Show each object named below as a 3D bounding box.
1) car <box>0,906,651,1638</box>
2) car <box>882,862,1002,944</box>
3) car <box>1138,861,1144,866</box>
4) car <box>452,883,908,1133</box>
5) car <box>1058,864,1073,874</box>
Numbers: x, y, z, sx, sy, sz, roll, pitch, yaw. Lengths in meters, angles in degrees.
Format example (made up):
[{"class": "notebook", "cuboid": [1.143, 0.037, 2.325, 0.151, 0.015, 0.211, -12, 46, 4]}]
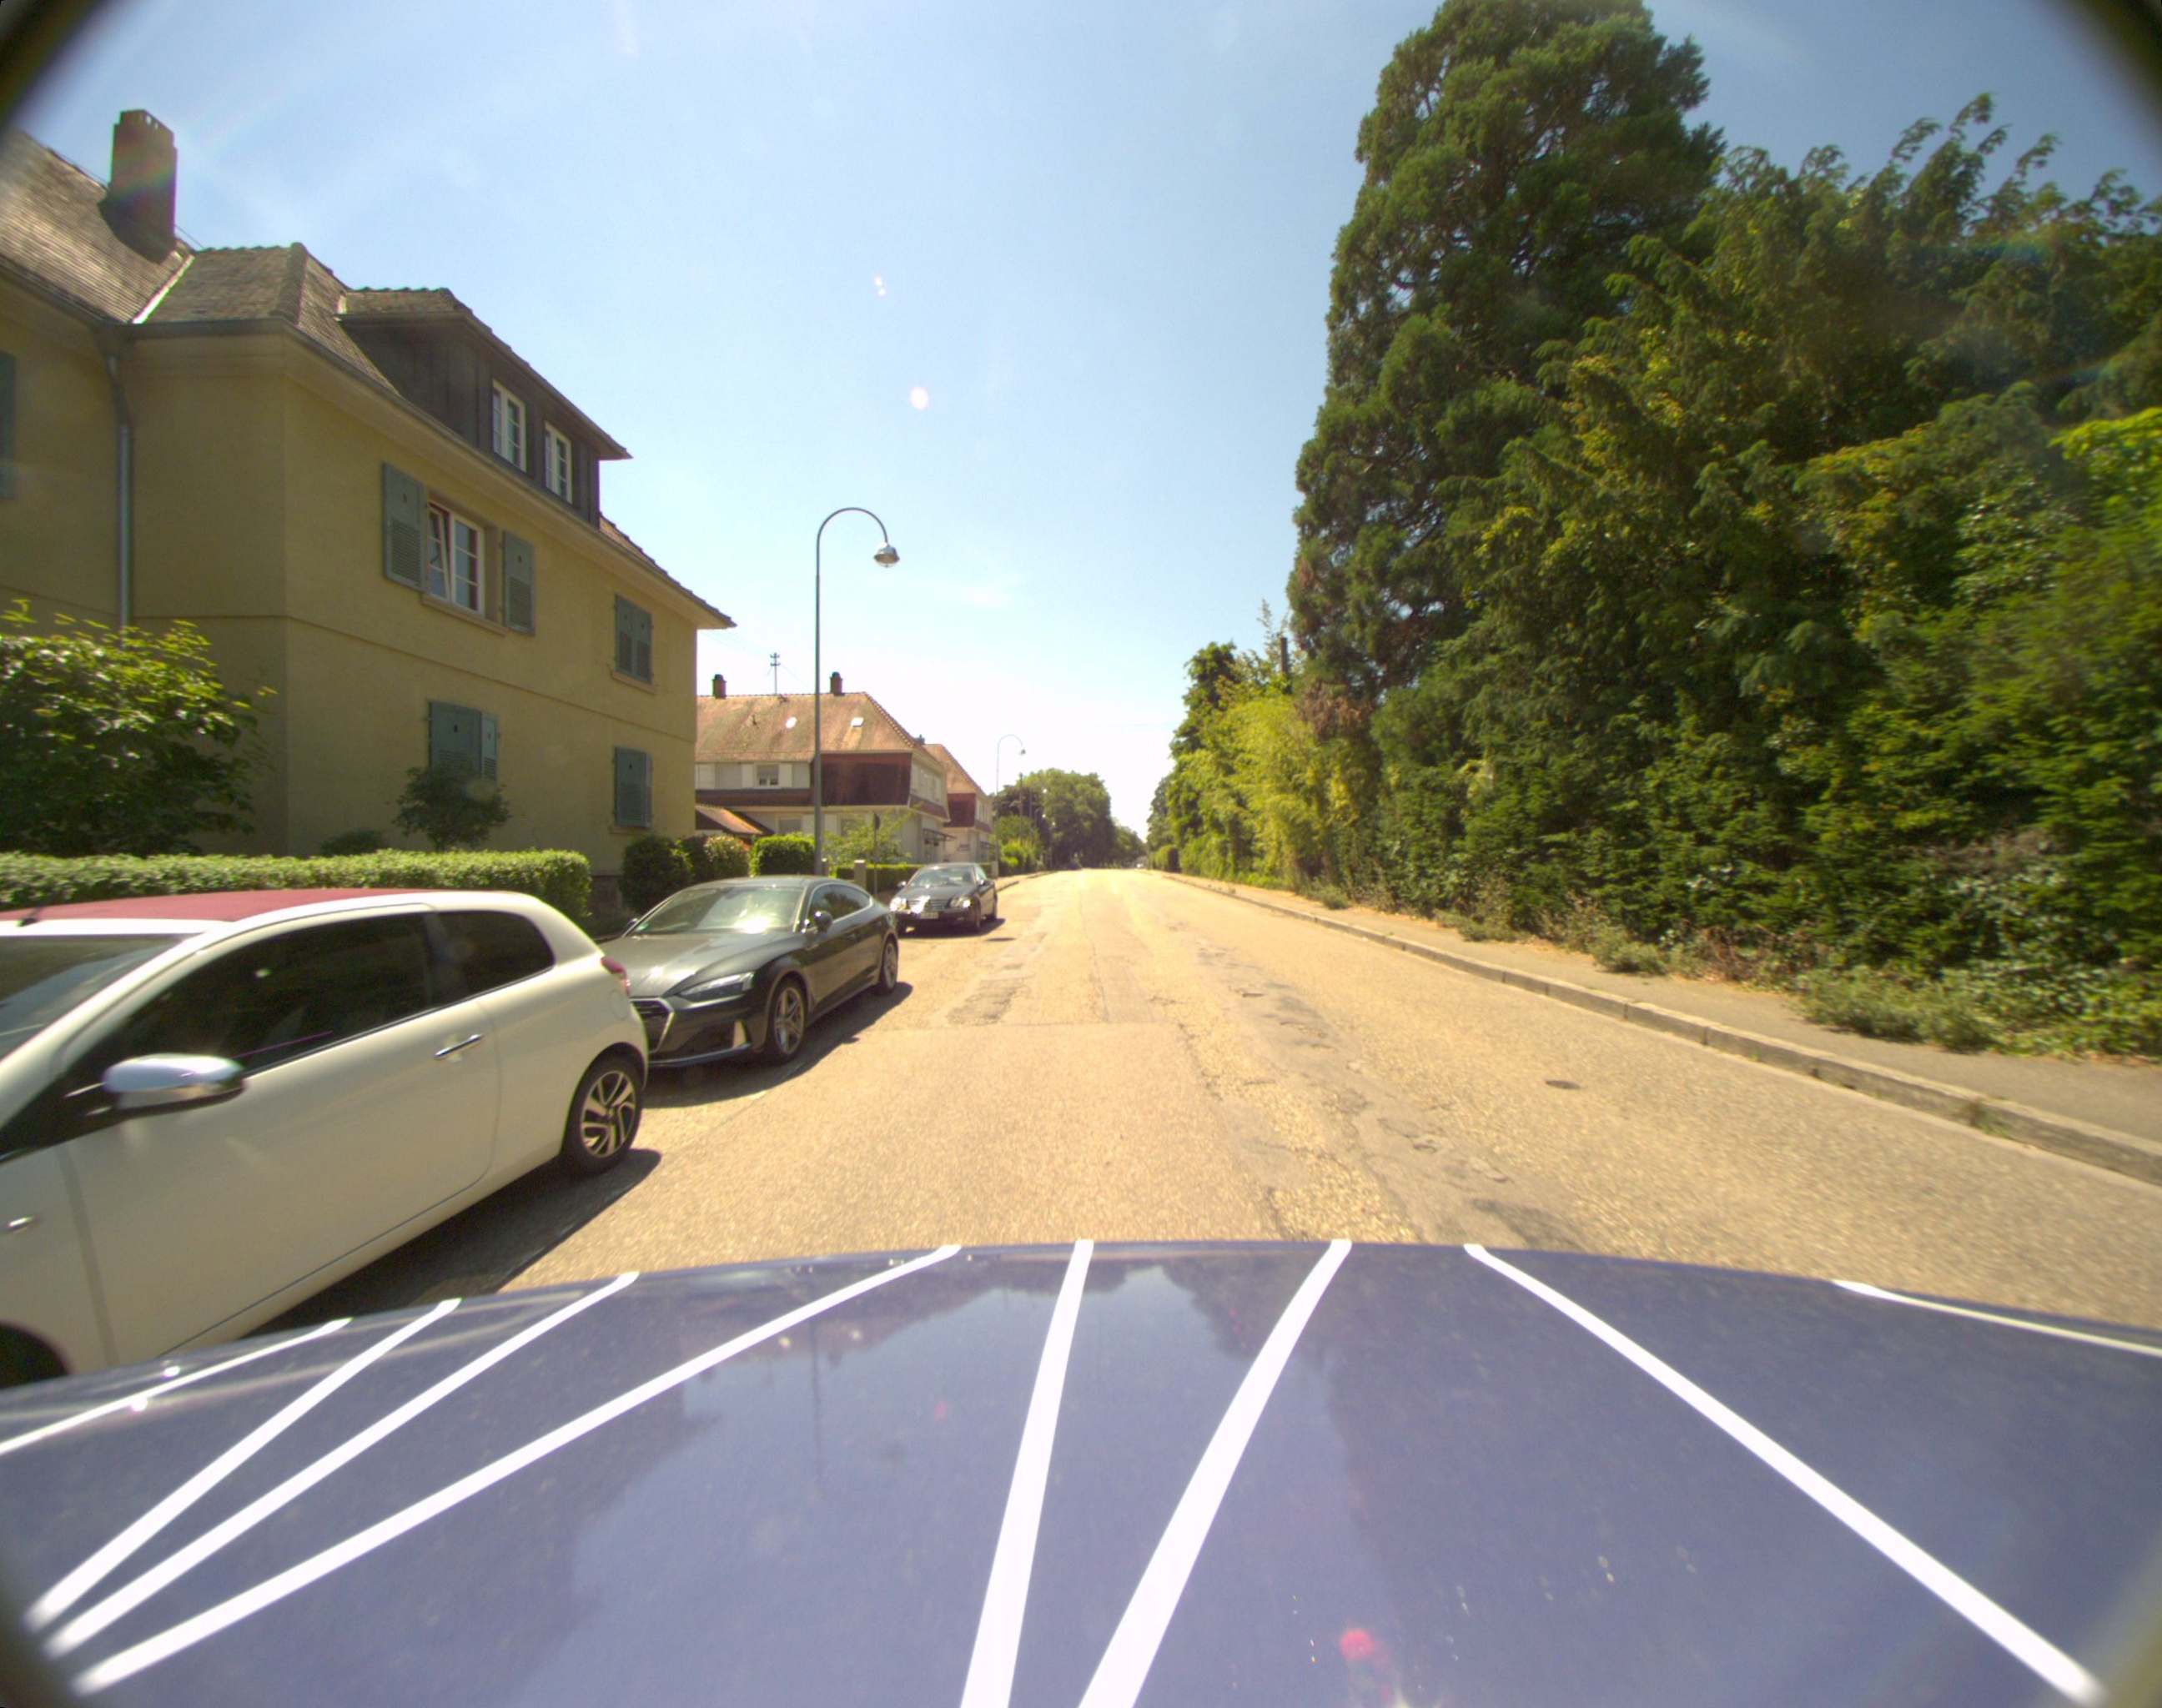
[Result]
[{"class": "car", "cuboid": [-3.279, 1.026, 2.364, 1.765, 1.443, 3.648, -1, 0, 0]}, {"class": "car", "cuboid": [-2.846, 0.949, 16.514, 1.697, 1.410, 4.550, -1, 1, 0]}, {"class": "car", "cuboid": [17.480, 2.832, 221.524, 1.684, 1.364, 4.208, 1, -1, 3]}, {"class": "car", "cuboid": [-3.038, 1.055, 7.077, 1.765, 1.363, 4.607, -1, 0, 0]}, {"class": "car", "cuboid": [-2.639, 2.626, 131.935, 1.882, 1.623, 4.324, 0, -1, 9]}]
